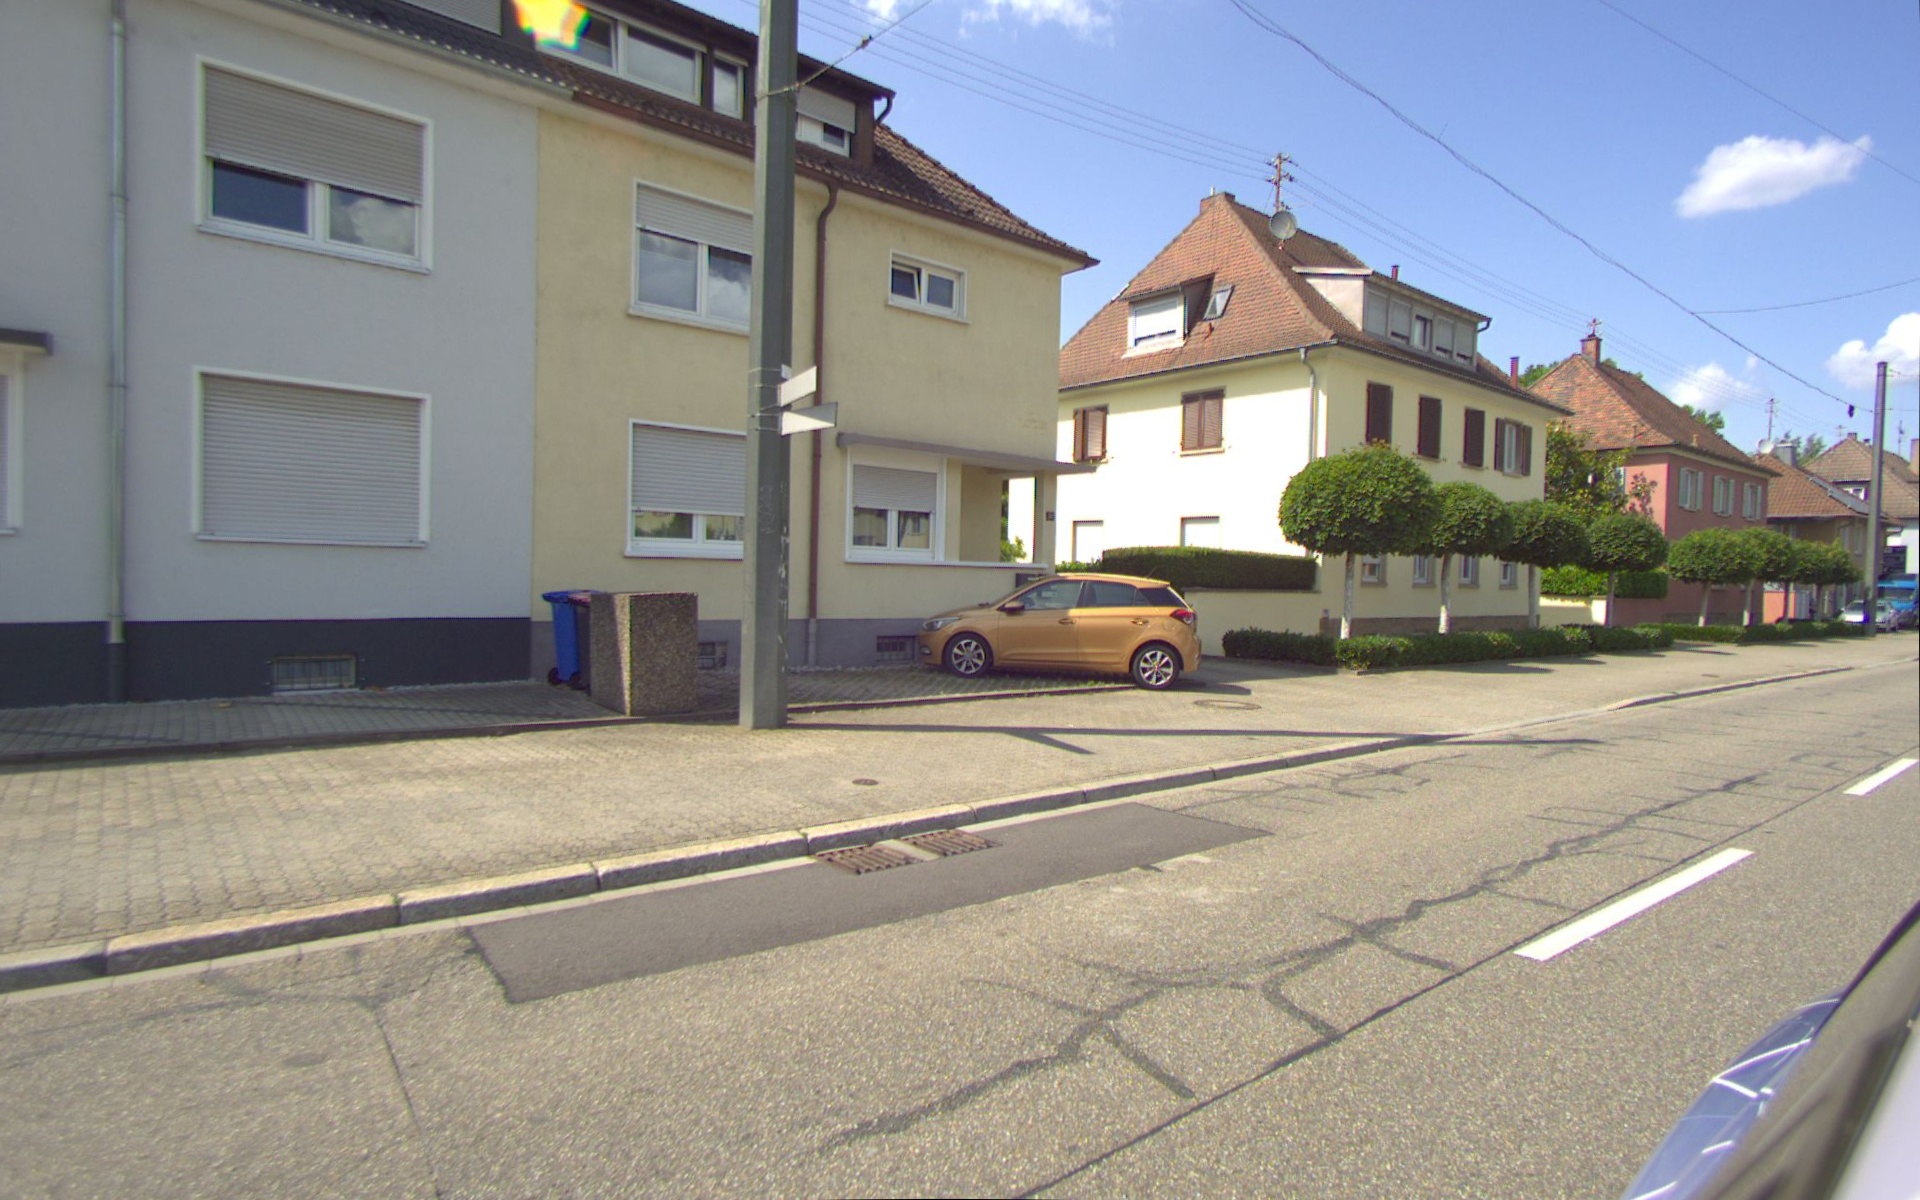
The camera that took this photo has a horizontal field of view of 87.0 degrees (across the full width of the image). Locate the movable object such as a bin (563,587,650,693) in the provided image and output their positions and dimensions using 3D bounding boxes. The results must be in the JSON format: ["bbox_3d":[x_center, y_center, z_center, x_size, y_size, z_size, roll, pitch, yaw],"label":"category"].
[{"bbox_3d":[-3.750,0.406,10.732,0.673,1.060,0.639,1,1,-41],"label":"movable object such as a bin"}]

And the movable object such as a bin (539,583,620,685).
[{"bbox_3d":[-4.230,0.360,11.248,0.648,1.069,0.646,1,1,-41],"label":"movable object such as a bin"}]

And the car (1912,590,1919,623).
[{"bbox_3d":[52.575,0.411,53.874,4.772,1.732,1.843,1,3,-36],"label":"car"}]

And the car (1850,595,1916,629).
[{"bbox_3d":[42.181,0.511,46.231,4.273,1.426,1.653,0,3,-40],"label":"car"}]

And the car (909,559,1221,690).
[{"bbox_3d":[1.471,0.290,14.264,4.027,1.476,1.911,3,1,10],"label":"car"}]

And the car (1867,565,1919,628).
[{"bbox_3d":[47.511,-0.200,50.430,6.126,2.967,2.158,0,1,-35],"label":"car"}]
